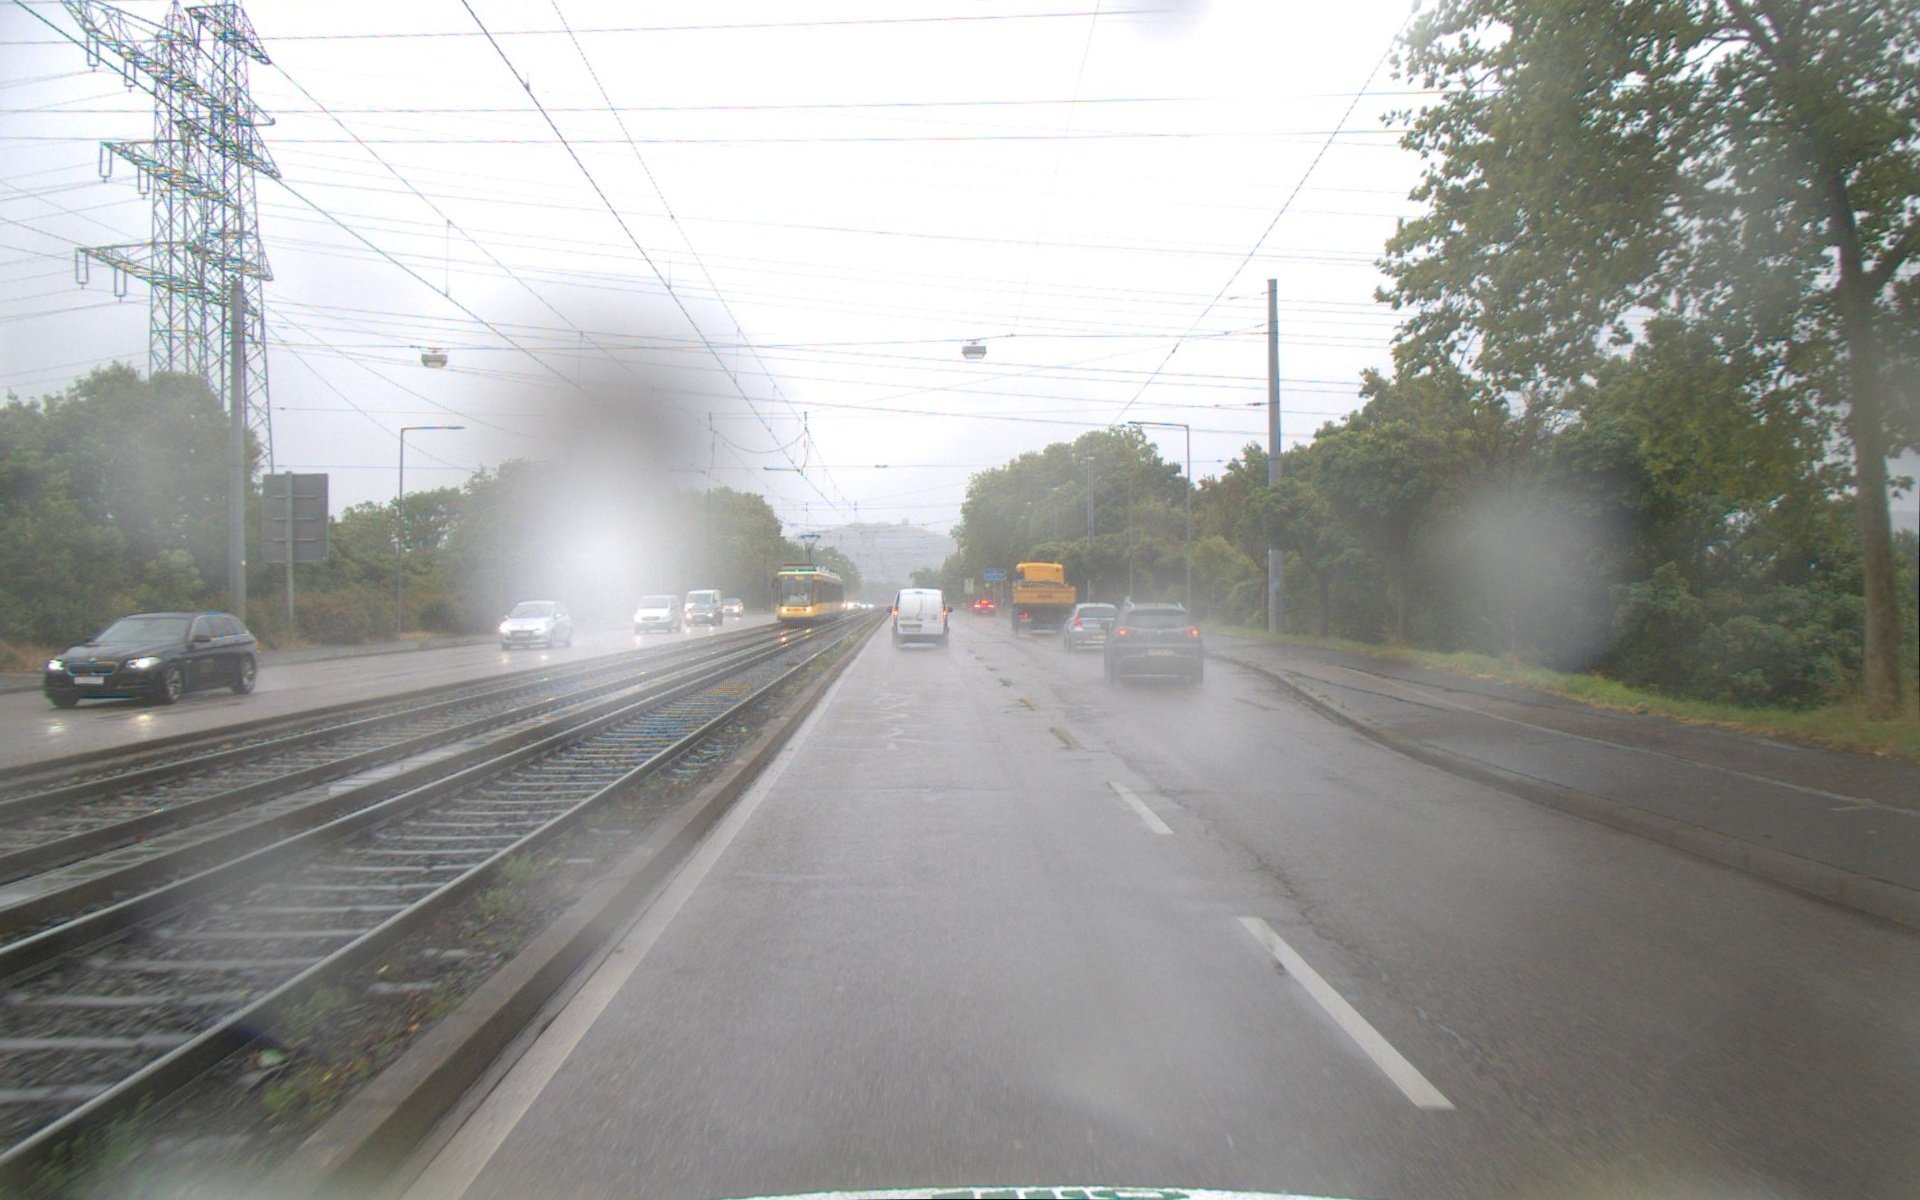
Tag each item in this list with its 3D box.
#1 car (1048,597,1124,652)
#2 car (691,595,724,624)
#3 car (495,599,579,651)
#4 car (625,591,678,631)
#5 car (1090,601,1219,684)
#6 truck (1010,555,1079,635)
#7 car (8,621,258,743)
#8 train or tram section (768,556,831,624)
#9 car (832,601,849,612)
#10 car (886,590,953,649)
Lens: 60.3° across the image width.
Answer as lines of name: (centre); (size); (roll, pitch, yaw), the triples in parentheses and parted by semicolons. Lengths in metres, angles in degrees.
car: (3.816, 0.711, 50.613); (1.594, 1.529, 4.602); (1, 1, -5)
car: (-15.997, 0.607, 104.981); (1.633, 1.753, 3.731); (1, 1, -2)
car: (-14.809, 0.857, 58.092); (1.849, 1.671, 4.346); (1, 1, -1)
car: (-15.665, 0.507, 84.078); (1.849, 1.917, 4.621); (1, 1, -1)
car: (3.588, 0.751, 31.217); (1.849, 1.380, 4.276); (1, 1, -1)
truck: (3.629, -0.249, 72.303); (2.504, 3.314, 6.932); (1, 1, -1)
car: (-13.199, 1.240, 26.723); (1.849, 1.671, 4.396); (1, 1, -1)
train or tram section: (-9.646, -0.683, 101.176); (2.807, 3.770, 17.882); (1, 1, -2)
car: (-17.455, 0.939, 241.917); (1.952, 1.489, 5.252); (-2, 1, 1)
car: (-1.215, 0.569, 50.793); (1.949, 1.713, 3.739); (1, 1, -1)
